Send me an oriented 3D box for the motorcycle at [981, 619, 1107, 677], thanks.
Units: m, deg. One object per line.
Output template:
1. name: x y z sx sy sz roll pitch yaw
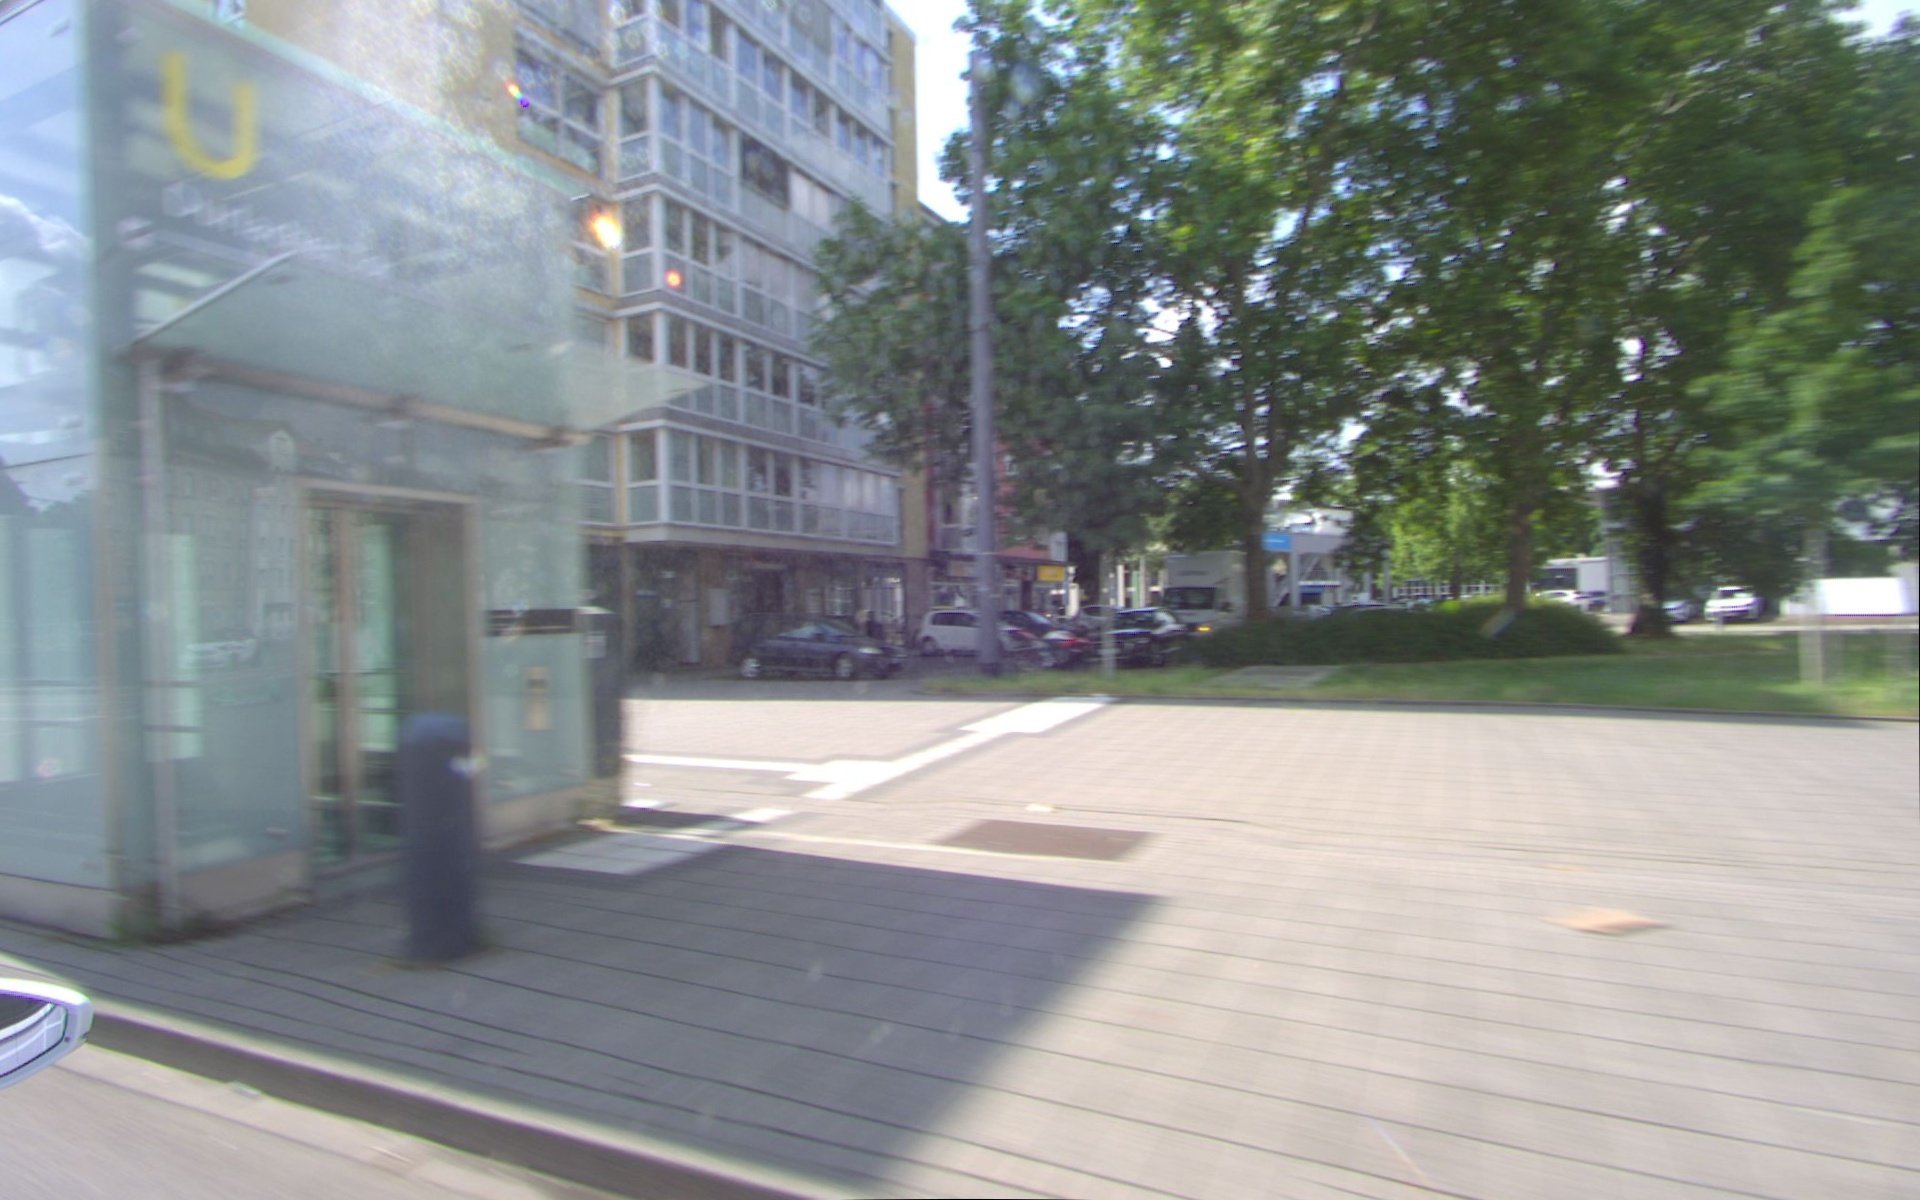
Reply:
1. motorcycle: 1.633 0.923 19.567 2.252 1.043 0.974 -1 -1 -15

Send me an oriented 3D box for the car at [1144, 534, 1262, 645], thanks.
1. car: 7.858 -0.271 31.682 1.969 3.083 7.220 -1 0 27

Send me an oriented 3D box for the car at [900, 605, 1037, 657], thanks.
1. car: 0.274 0.945 32.201 4.029 1.534 1.802 1 1 26

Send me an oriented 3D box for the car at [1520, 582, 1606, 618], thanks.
1. car: 36.030 -0.027 59.886 1.979 2.041 3.963 0 1 -41

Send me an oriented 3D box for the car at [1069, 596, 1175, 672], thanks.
1. car: 4.144 0.795 25.138 1.965 1.728 3.992 -1 0 19

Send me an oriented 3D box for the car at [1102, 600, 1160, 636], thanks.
1. car: 8.107 0.831 47.278 1.635 1.572 3.985 -1 0 26

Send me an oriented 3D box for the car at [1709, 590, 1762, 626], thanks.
1. car: 38.087 0.370 49.252 1.767 1.704 3.975 -1 0 34

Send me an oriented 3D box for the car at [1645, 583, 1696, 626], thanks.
1. car: 35.970 0.221 50.763 1.972 2.041 3.976 2 1 34

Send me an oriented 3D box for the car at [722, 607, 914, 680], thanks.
1. car: -3.260 0.968 22.939 4.030 1.534 1.802 -1 0 26

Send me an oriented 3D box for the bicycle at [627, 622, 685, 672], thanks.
1. bicycle: -7.481 1.141 24.709 0.585 1.144 1.341 1 1 30
